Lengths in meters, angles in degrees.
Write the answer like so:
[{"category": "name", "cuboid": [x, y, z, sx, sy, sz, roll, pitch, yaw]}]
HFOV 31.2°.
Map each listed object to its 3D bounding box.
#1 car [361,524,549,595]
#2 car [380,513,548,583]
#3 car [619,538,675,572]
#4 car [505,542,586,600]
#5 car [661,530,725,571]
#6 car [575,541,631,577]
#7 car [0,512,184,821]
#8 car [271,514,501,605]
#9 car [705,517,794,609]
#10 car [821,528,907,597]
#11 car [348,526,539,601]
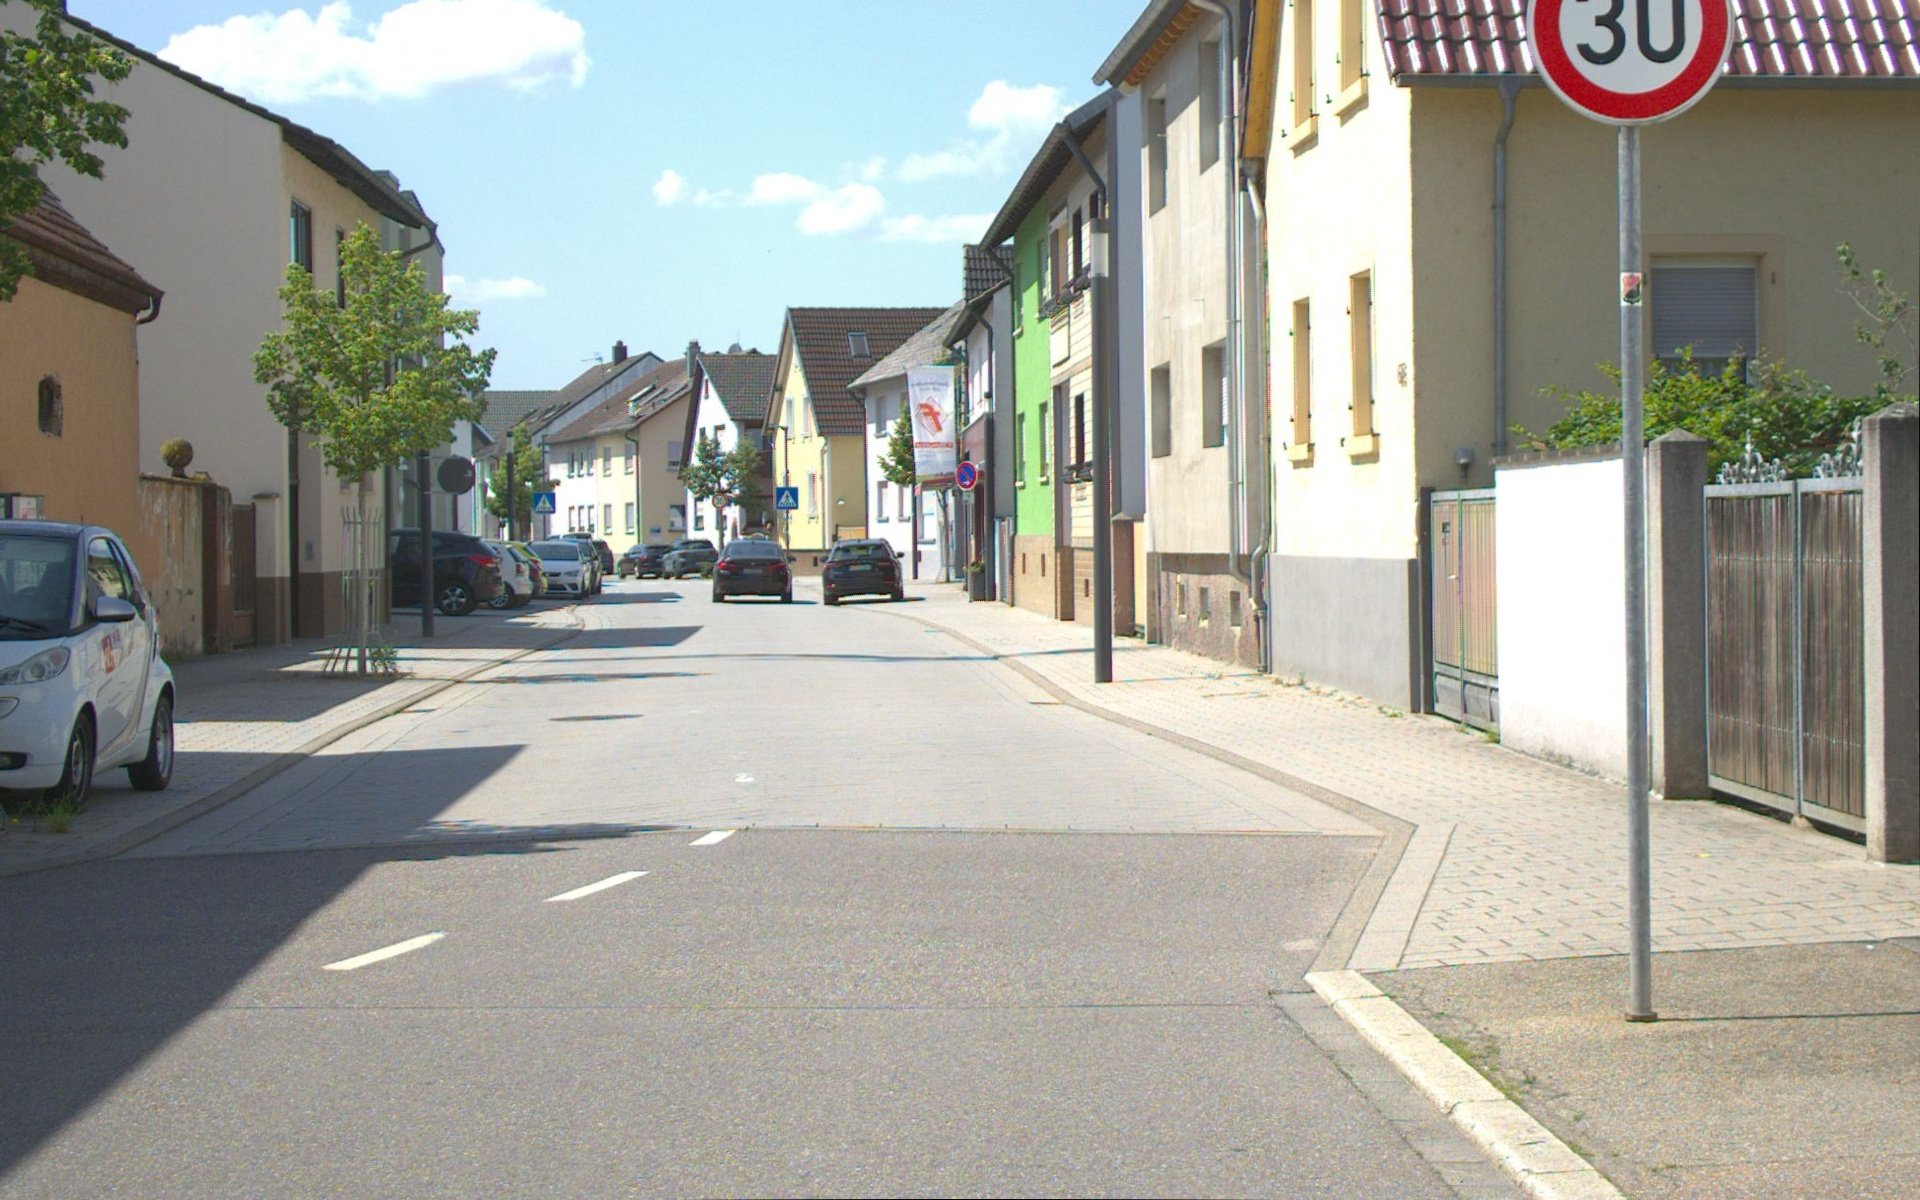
[{"category": "car", "cuboid": [-11.316, -0.914, 77.255, 3.986, 1.437, 1.691, 2, 1, -3]}, {"category": "car", "cuboid": [-11.545, -1.210, 80.225, 3.691, 1.520, 1.673, 1, 1, -2]}, {"category": "car", "cuboid": [-13.060, -1.883, 143.304, 1.710, 1.382, 3.707, -1, 1, -15]}, {"category": "car", "cuboid": [-10.613, -0.767, 88.275, 1.757, 1.406, 3.878, 1, 1, -3]}, {"category": "car", "cuboid": [-10.559, -1.965, 135.782, 1.846, 1.557, 3.695, -1, 1, -15]}, {"category": "car", "cuboid": [-16.255, -1.885, 156.457, 1.877, 1.585, 4.001, -1, 1, -15]}, {"category": "car", "cuboid": [-5.353, 0.297, 18.868, 1.572, 1.556, 2.822, 2, 1, -1]}, {"category": "car", "cuboid": [-11.156, -0.802, 67.011, 4.218, 1.652, 1.785, 1, 1, -3]}, {"category": "car", "cuboid": [-4.947, -0.897, 80.908, 1.993, 2.050, 4.375, -1, 1, -4]}, {"category": "car", "cuboid": [-2.205, -0.893, 79.654, 1.858, 1.454, 4.586, -3, 1, -1]}, {"category": "car", "cuboid": [-11.238, -0.809, 74.963, 3.900, 1.497, 1.751, 2, 1, -1]}]
